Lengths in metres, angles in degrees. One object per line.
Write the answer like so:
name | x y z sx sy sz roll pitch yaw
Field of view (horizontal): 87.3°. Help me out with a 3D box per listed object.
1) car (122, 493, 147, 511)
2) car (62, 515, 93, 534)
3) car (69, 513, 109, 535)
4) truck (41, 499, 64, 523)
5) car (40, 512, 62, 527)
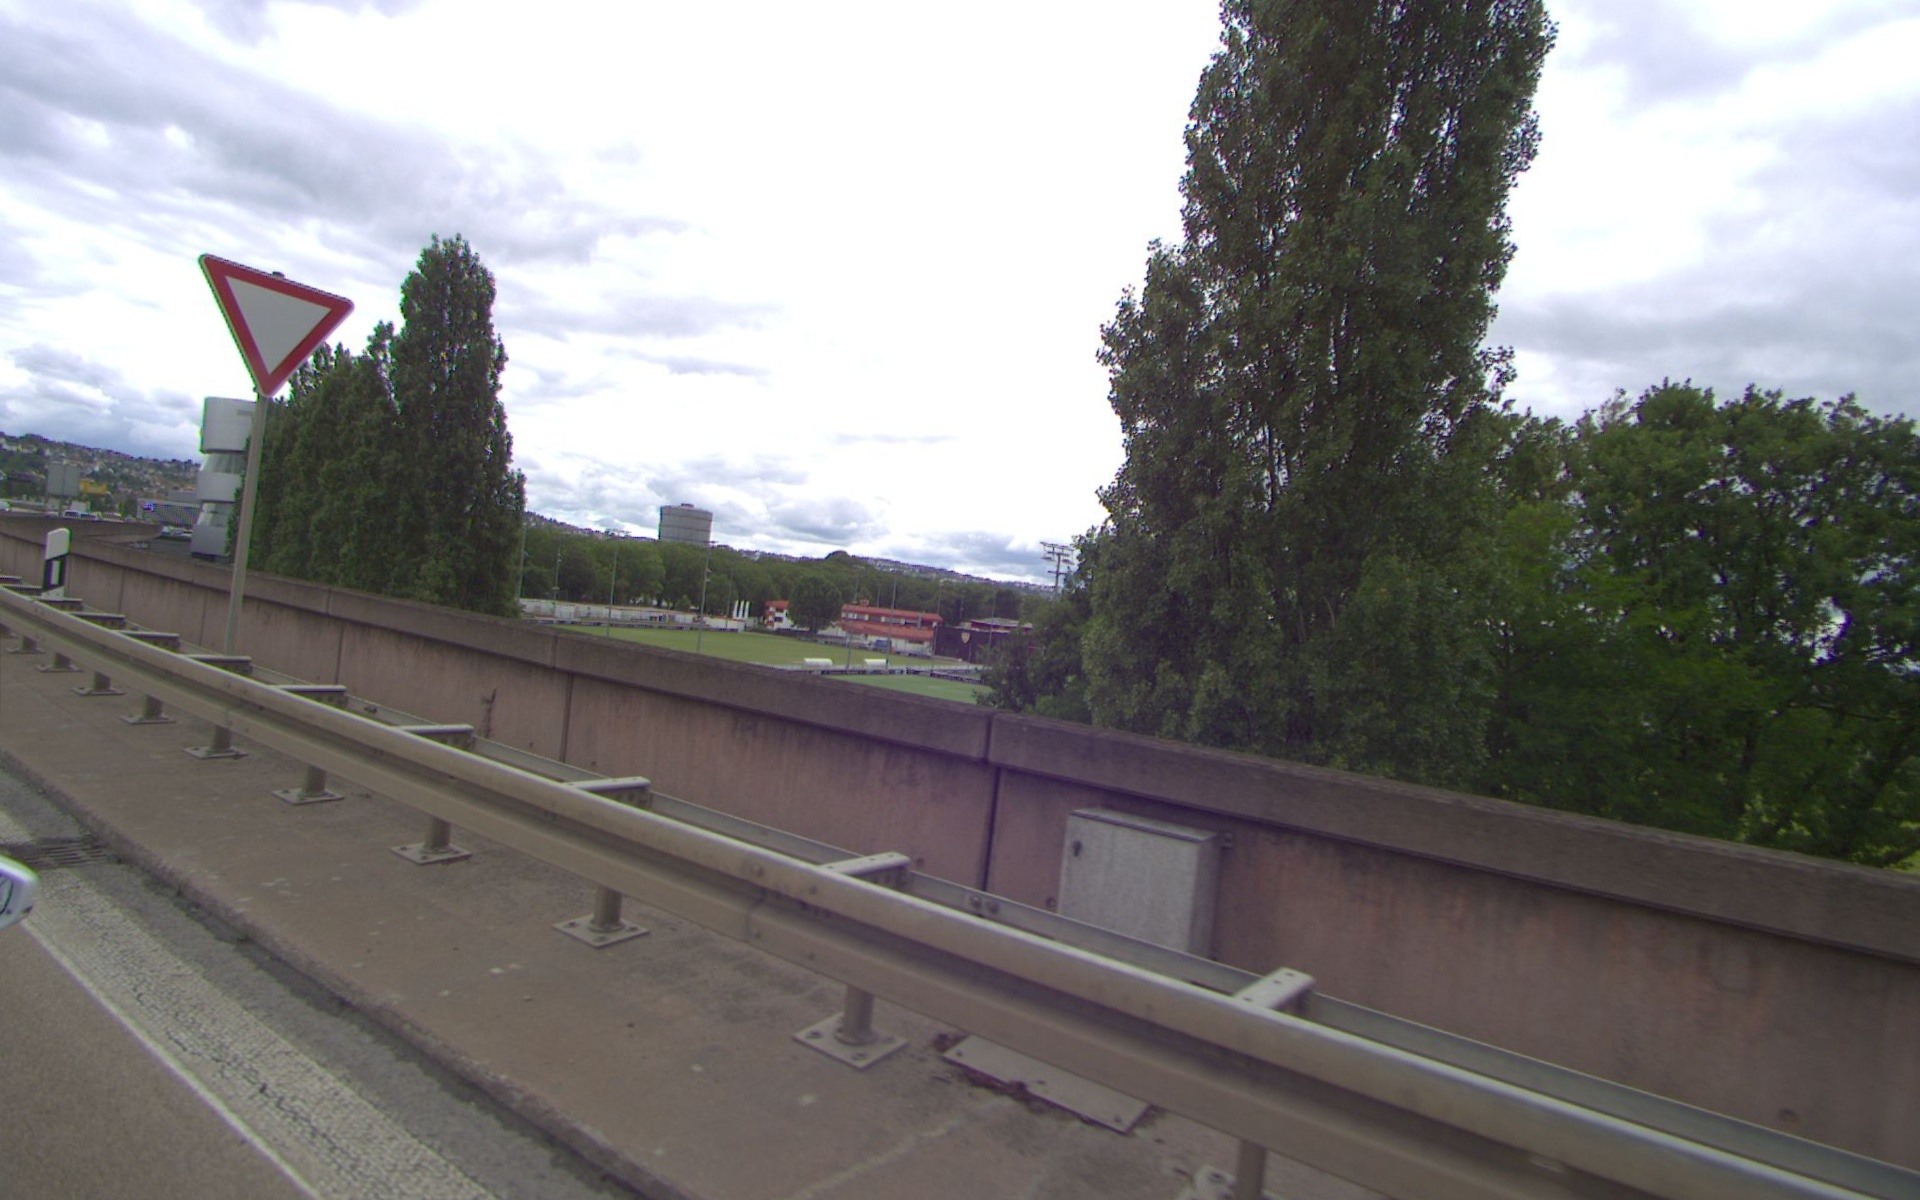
car | -89.411 -10.613 109.039 1.683 1.570 3.610 5 -1 -34
car | -102.578 -8.755 116.984 1.986 1.552 3.965 13 -6 -34
car | -86.404 -7.510 99.807 1.982 1.552 3.973 13 -6 -29
truck | -164.758 -16.057 182.676 2.381 3.943 5.883 5 1 -37
car | -120.614 -10.718 133.508 1.986 1.556 3.957 8 -3 -40
